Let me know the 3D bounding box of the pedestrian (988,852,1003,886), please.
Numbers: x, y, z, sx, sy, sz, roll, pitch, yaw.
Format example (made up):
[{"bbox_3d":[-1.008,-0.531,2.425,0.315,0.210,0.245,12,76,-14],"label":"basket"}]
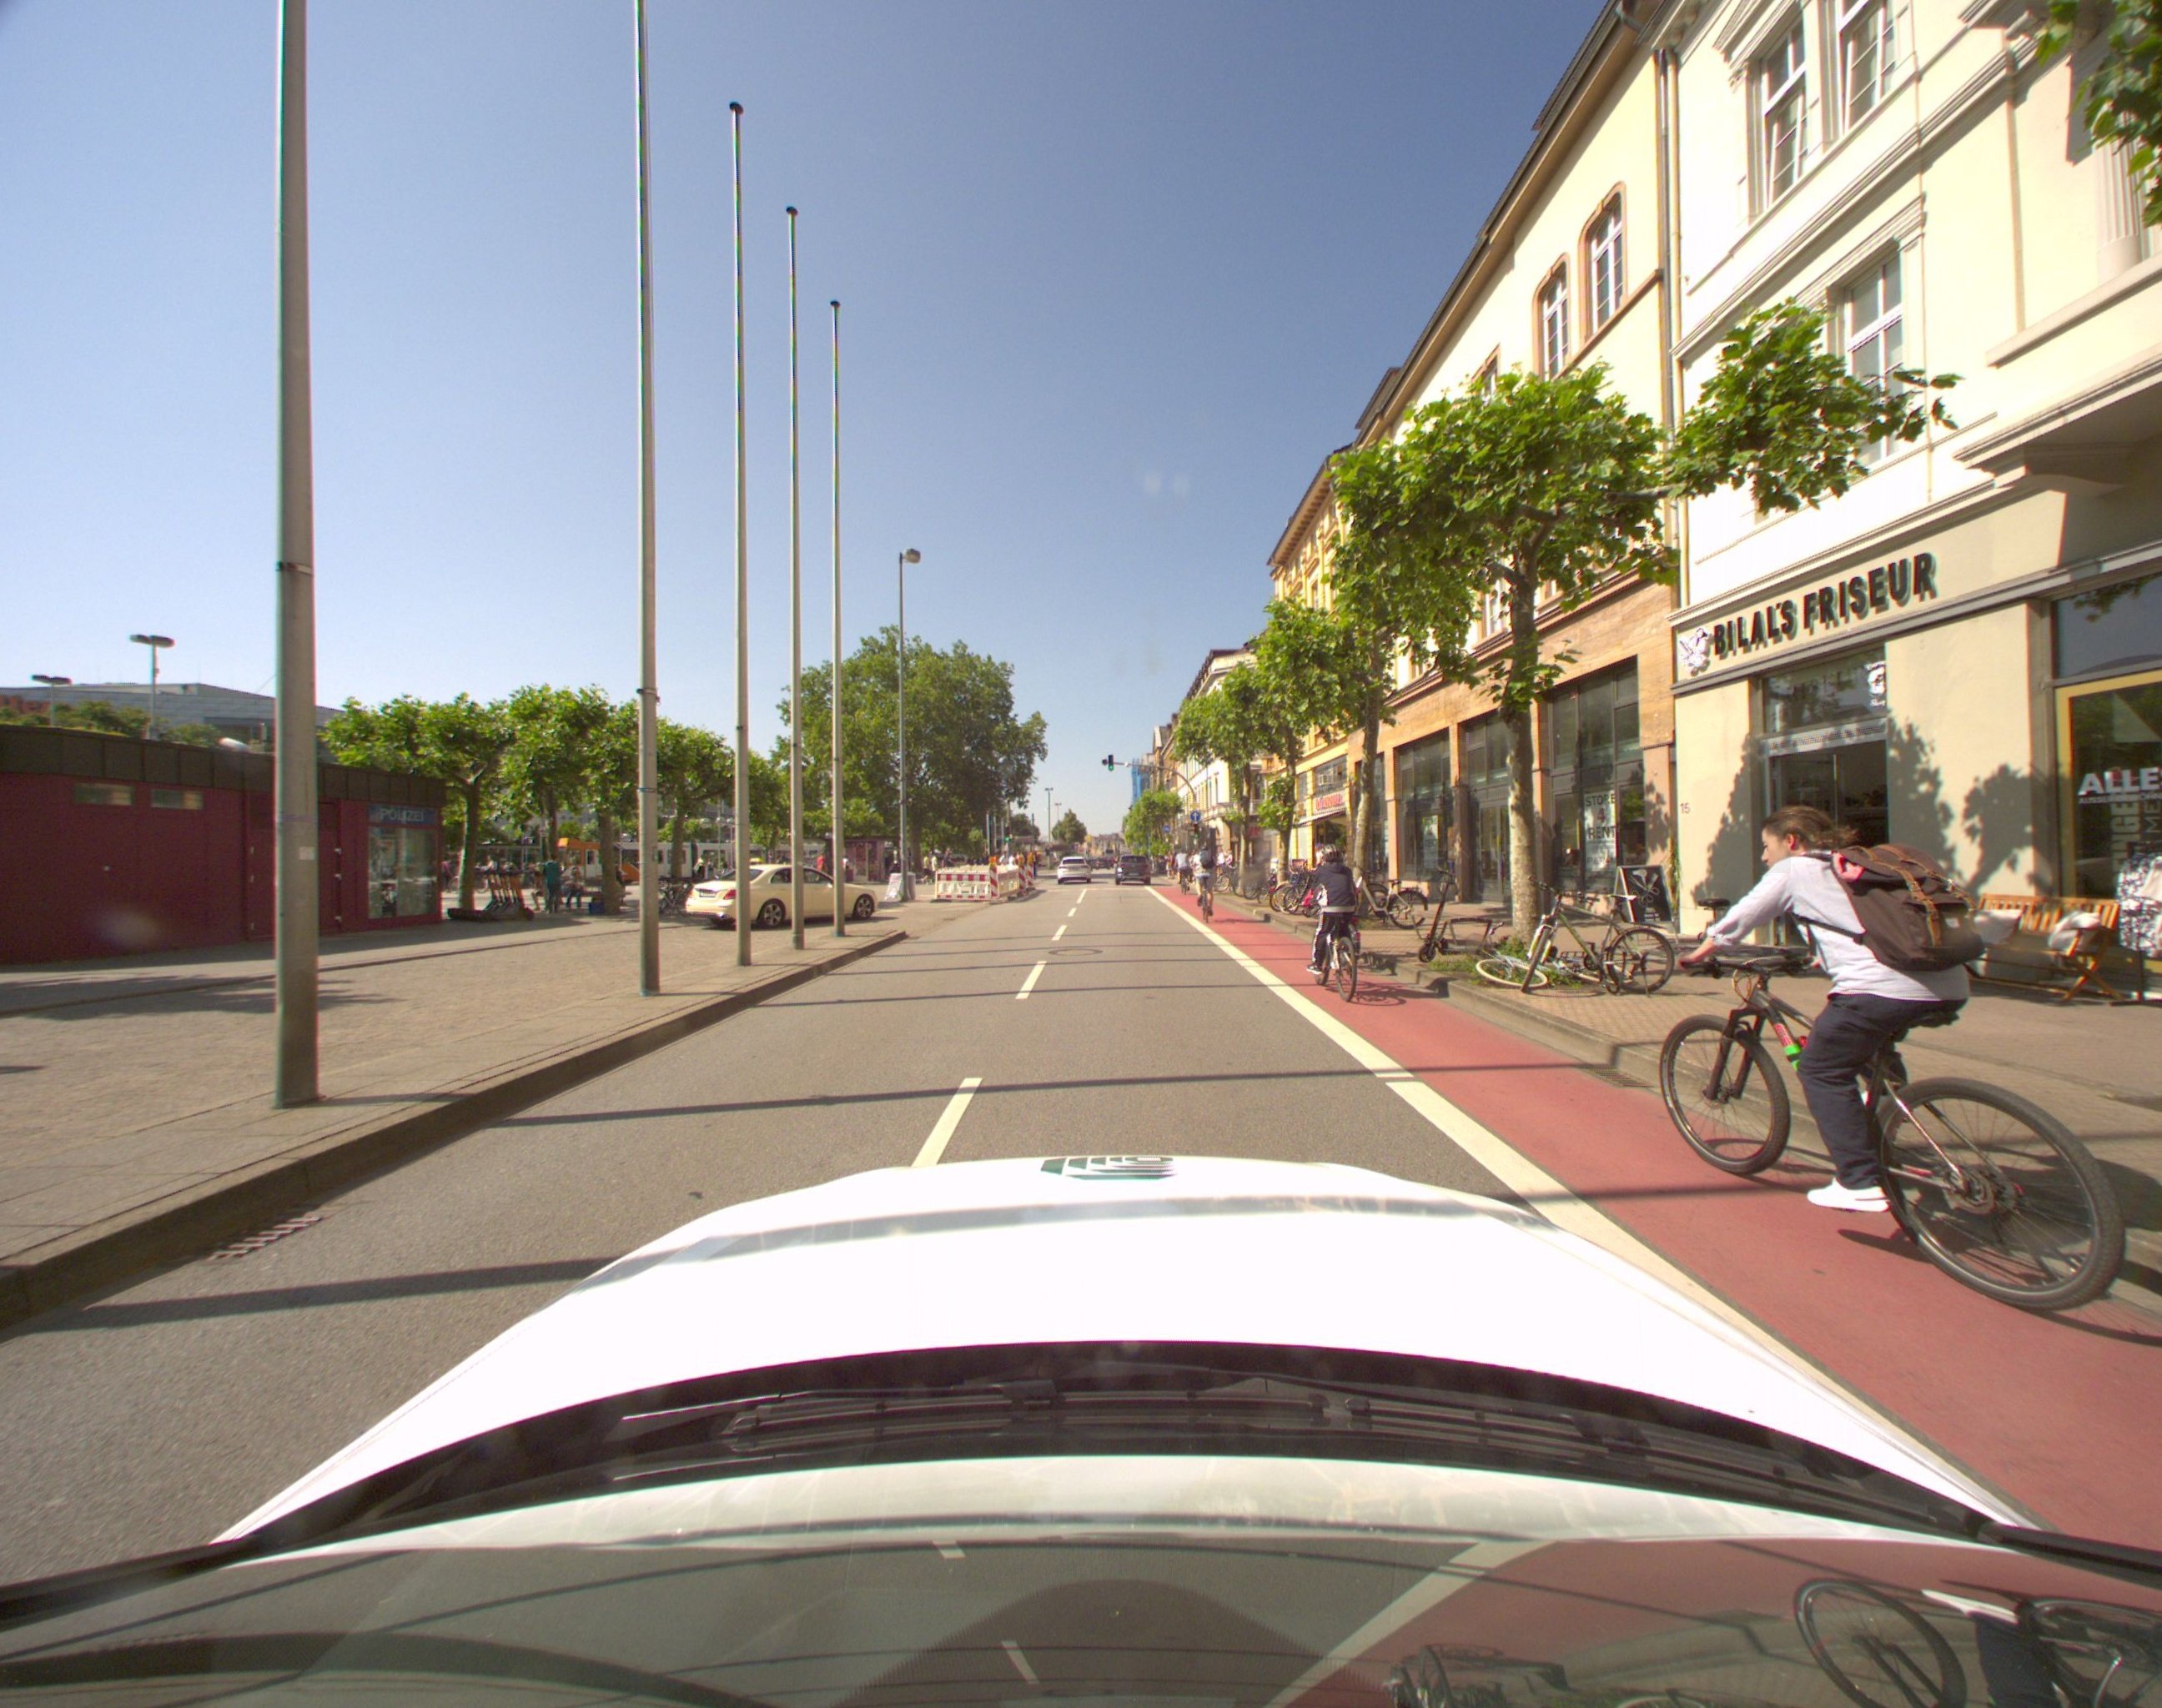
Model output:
[{"bbox_3d":[-4.477,0.781,42.649,0.542,1.718,0.600,1,-1,-30],"label":"pedestrian"}]

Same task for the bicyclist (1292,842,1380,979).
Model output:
[{"bbox_3d":[2.786,0.598,8.961,0.696,1.440,0.790,0,-1,-2],"label":"bicyclist"}]

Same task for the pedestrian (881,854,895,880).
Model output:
[{"bbox_3d":[-13.778,0.909,58.137,0.627,1.810,0.618,-5,-3,21],"label":"pedestrian"}]

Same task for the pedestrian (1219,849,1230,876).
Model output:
[{"bbox_3d":[8.712,0.531,49.550,0.521,1.609,0.642,-2,-1,2],"label":"pedestrian"}]

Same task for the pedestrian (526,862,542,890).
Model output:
[{"bbox_3d":[-34.641,1.386,51.567,0.737,1.749,0.610,-1,-1,40],"label":"pedestrian"}]

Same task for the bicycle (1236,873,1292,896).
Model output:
[{"bbox_3d":[6.364,1.047,28.285,1.850,0.716,0.655,-1,0,-20],"label":"bicycle"}]

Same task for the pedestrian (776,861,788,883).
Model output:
[{"bbox_3d":[-17.618,1.069,47.995,0.611,1.262,0.609,-1,-1,-20],"label":"pedestrian"}]

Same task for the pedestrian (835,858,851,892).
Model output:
[{"bbox_3d":[-12.283,1.087,42.119,0.573,1.739,0.607,0,-1,7],"label":"pedestrian"}]

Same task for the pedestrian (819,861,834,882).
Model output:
[{"bbox_3d":[-15.396,1.077,49.201,0.605,1.262,0.615,-1,-1,28],"label":"pedestrian"}]

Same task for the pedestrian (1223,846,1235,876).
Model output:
[{"bbox_3d":[8.346,0.397,46.042,0.546,1.640,0.589,-2,-1,4],"label":"pedestrian"}]

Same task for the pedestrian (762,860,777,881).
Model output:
[{"bbox_3d":[-18.856,0.975,49.282,0.616,1.262,0.604,0,-1,-43],"label":"pedestrian"}]

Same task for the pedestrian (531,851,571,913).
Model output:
[{"bbox_3d":[-14.581,0.766,22.417,0.670,1.677,0.686,0,0,-7],"label":"pedestrian"}]

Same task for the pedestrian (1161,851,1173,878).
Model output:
[{"bbox_3d":[5.853,0.699,55.270,0.608,1.739,0.677,-5,-1,0],"label":"pedestrian"}]

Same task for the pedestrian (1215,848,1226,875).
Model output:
[{"bbox_3d":[8.629,0.471,50.256,0.521,1.611,0.642,-2,-1,2],"label":"pedestrian"}]

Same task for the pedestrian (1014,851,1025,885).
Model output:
[{"bbox_3d":[-3.491,0.800,46.179,0.529,1.919,0.560,-1,-1,3],"label":"pedestrian"}]

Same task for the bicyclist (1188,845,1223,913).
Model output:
[{"bbox_3d":[2.803,0.551,18.441,0.628,1.481,1.198,-1,0,1],"label":"bicyclist"}]

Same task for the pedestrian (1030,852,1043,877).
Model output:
[{"bbox_3d":[-3.312,0.809,60.473,0.626,1.834,0.735,-1,-1,31],"label":"pedestrian"}]

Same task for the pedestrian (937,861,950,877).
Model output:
[{"bbox_3d":[-9.662,1.039,57.388,0.627,1.144,0.669,-1,-1,22],"label":"pedestrian"}]

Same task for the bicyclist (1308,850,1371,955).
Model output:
[{"bbox_3d":[3.458,0.628,10.944,0.598,1.357,0.721,-1,1,-1],"label":"bicyclist"}]

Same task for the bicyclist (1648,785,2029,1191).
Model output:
[{"bbox_3d":[3.054,0.480,3.401,0.696,1.446,0.960,0,-1,-2],"label":"bicyclist"}]

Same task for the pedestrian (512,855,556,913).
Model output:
[{"bbox_3d":[-15.295,0.820,22.783,0.804,1.606,0.670,0,-1,-12],"label":"pedestrian"}]

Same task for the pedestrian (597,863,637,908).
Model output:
[{"bbox_3d":[-14.493,0.975,25.471,0.667,1.381,0.900,0,0,10],"label":"pedestrian"}]

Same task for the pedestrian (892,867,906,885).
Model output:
[{"bbox_3d":[-13.159,1.574,58.937,0.627,1.293,0.735,-1,-1,22],"label":"pedestrian"}]

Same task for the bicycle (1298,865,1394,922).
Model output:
[{"bbox_3d":[5.399,0.794,16.667,1.721,1.109,0.737,-1,0,3],"label":"bicycle"}]

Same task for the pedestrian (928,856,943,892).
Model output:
[{"bbox_3d":[-7.727,1.062,43.270,0.573,1.891,0.654,0,-1,3],"label":"pedestrian"}]

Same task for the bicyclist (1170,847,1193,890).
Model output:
[{"bbox_3d":[3.976,0.570,32.273,0.771,1.635,0.851,-1,0,2],"label":"bicyclist"}]

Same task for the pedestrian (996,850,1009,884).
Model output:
[{"bbox_3d":[-4.178,0.681,43.438,0.536,1.779,0.607,0,-1,7],"label":"pedestrian"}]

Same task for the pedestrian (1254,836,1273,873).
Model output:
[{"bbox_3d":[9.122,0.021,40.660,0.655,1.790,1.233,-1,-2,1],"label":"pedestrian"}]

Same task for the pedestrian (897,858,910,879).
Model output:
[{"bbox_3d":[-12.639,1.023,57.967,0.627,1.478,0.735,-1,-1,22],"label":"pedestrian"}]

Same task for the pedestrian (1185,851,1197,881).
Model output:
[{"bbox_3d":[6.098,0.687,45.252,0.546,1.631,0.589,-2,-1,4],"label":"pedestrian"}]

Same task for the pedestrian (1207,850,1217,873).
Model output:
[{"bbox_3d":[9.272,0.503,57.677,0.608,1.618,0.678,-1,1,0],"label":"pedestrian"}]

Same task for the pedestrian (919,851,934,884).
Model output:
[{"bbox_3d":[-8.403,0.738,44.267,0.581,1.721,0.790,-1,3,3],"label":"pedestrian"}]

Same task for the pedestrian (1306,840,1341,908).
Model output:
[{"bbox_3d":[5.840,0.476,19.632,0.612,1.612,0.745,-1,0,2],"label":"pedestrian"}]

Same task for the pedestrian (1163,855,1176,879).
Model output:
[{"bbox_3d":[5.713,0.839,52.607,0.608,1.515,0.677,-5,-1,0],"label":"pedestrian"}]

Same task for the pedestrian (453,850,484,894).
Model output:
[{"bbox_3d":[-25.726,0.762,34.226,0.800,1.799,0.605,0,-2,-5],"label":"pedestrian"}]

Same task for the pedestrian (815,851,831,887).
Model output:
[{"bbox_3d":[-13.448,0.792,42.433,0.666,1.879,0.625,1,-1,-31],"label":"pedestrian"}]

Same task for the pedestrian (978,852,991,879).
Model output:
[{"bbox_3d":[-6.602,0.776,55.697,0.627,1.810,0.735,-1,-1,22],"label":"pedestrian"}]

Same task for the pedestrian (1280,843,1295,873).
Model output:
[{"bbox_3d":[12.643,0.238,49.864,0.554,1.801,0.581,-1,-2,-43],"label":"pedestrian"}]

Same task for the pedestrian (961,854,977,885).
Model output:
[{"bbox_3d":[-6.739,0.940,48.960,0.627,1.859,0.690,-1,-1,22],"label":"pedestrian"}]

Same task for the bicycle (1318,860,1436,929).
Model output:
[{"bbox_3d":[5.486,0.741,15.184,1.923,1.248,0.737,-1,0,3],"label":"bicycle"}]

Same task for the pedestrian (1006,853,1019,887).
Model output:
[{"bbox_3d":[-3.543,0.815,42.114,0.431,1.740,0.600,1,-1,-29],"label":"pedestrian"}]

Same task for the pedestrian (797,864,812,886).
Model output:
[{"bbox_3d":[-16.454,1.259,48.442,0.605,1.262,0.615,-1,-1,37],"label":"pedestrian"}]

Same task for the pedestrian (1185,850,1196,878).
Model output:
[{"bbox_3d":[5.975,0.532,44.595,0.520,1.521,0.642,-2,-1,5],"label":"pedestrian"}]

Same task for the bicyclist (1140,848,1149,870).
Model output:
[{"bbox_3d":[4.579,0.376,58.751,0.645,1.551,0.818,-1,-1,1],"label":"bicyclist"}]

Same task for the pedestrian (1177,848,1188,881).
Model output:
[{"bbox_3d":[5.850,0.593,46.960,0.520,1.898,0.642,-2,-1,5],"label":"pedestrian"}]

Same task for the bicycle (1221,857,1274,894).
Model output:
[{"bbox_3d":[6.172,0.782,30.194,1.826,1.309,0.684,-1,0,-19],"label":"bicycle"}]

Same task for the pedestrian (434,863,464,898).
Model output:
[{"bbox_3d":[-27.866,1.159,35.920,0.799,1.561,0.605,0,-1,-4],"label":"pedestrian"}]

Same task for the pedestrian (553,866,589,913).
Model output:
[{"bbox_3d":[-14.434,0.996,23.060,0.672,1.309,0.683,0,0,-16],"label":"pedestrian"}]

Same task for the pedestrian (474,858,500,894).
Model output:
[{"bbox_3d":[-28.483,1.053,39.062,0.799,1.749,0.605,0,-1,-4],"label":"pedestrian"}]

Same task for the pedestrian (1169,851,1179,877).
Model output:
[{"bbox_3d":[6.718,0.710,58.637,0.608,1.824,0.677,-1,-1,0],"label":"pedestrian"}]

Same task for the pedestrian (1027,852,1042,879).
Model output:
[{"bbox_3d":[-2.867,0.713,50.113,0.627,1.595,0.690,-1,-1,22],"label":"pedestrian"}]

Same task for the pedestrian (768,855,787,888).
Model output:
[{"bbox_3d":[-14.284,0.806,38.338,0.573,1.532,0.607,0,-1,7],"label":"pedestrian"}]

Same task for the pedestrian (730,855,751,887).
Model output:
[{"bbox_3d":[-18.345,0.913,43.872,0.598,1.749,0.809,0,-1,33],"label":"pedestrian"}]

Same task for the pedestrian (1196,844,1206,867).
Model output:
[{"bbox_3d":[9.432,0.128,64.165,0.673,1.792,0.612,-1,-1,1],"label":"pedestrian"}]

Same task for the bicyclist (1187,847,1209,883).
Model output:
[{"bbox_3d":[5.978,0.579,41.680,0.577,1.797,0.848,-3,0,-33],"label":"bicyclist"}]
